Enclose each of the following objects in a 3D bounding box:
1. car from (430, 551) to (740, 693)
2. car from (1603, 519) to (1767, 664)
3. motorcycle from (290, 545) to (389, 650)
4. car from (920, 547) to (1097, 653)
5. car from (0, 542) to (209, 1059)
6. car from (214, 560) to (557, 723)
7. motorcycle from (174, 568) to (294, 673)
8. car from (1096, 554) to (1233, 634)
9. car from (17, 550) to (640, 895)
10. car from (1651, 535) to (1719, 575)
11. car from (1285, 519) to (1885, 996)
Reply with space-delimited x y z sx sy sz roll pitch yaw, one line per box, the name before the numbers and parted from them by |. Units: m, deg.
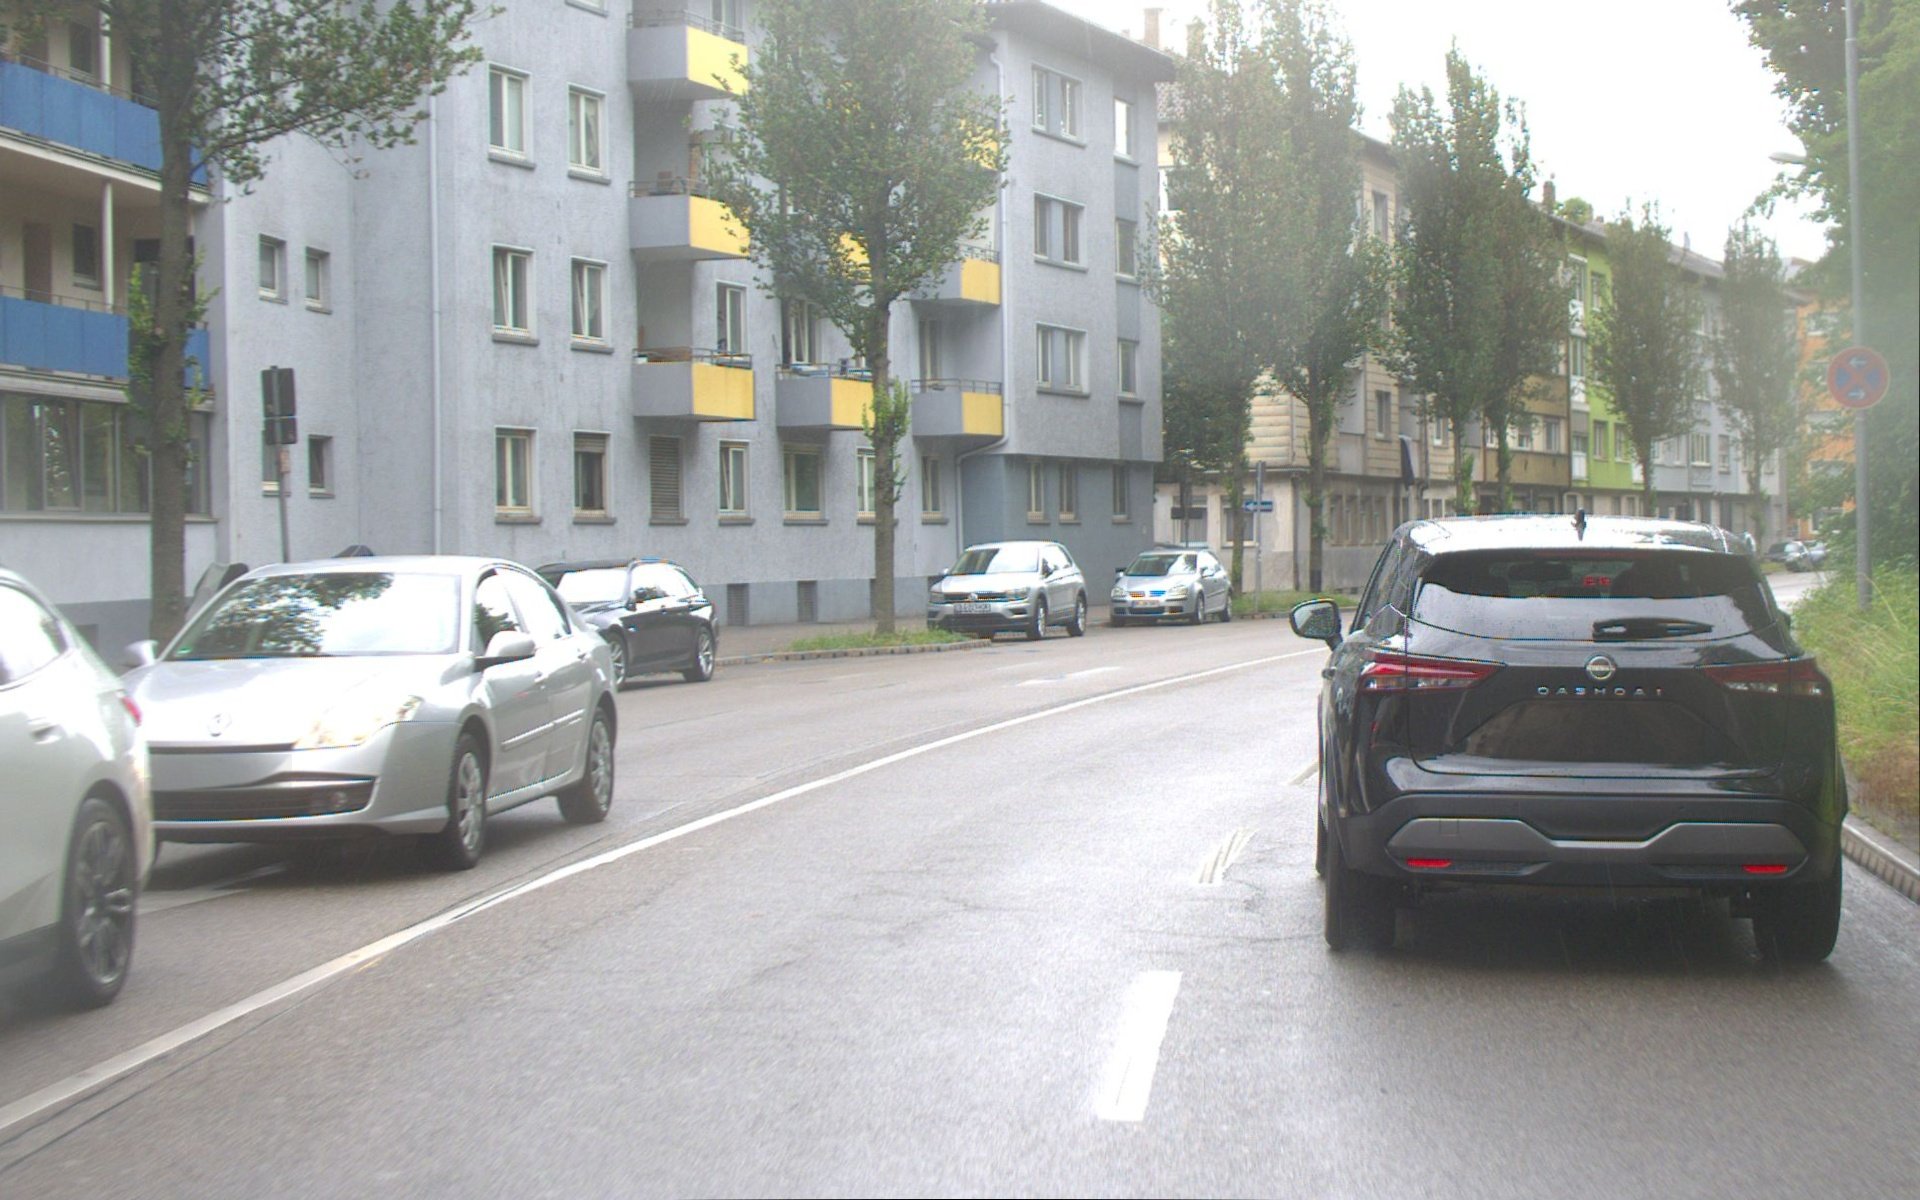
car | -4.183 0.208 39.201 1.822 1.434 4.889 -3 0 15
car | 8.924 -0.135 42.510 1.888 1.705 3.998 0 1 11
motorcycle | -8.607 -0.055 47.762 0.675 1.409 2.236 2 1 8
car | 0.847 -0.030 56.500 1.765 1.598 4.530 -2 1 16
car | -3.785 0.631 9.688 1.820 1.511 5.027 -2 1 5
car | -5.560 0.367 33.779 1.781 1.398 4.086 -3 1 14
motorcycle | -9.140 0.242 43.357 0.675 1.249 2.235 1 1 10
car | 4.017 -0.138 66.981 1.725 1.448 4.202 -1 0 17
car | -2.908 0.495 16.901 1.753 1.420 4.536 -1 1 6
car | 27.450 -1.721 130.043 1.819 1.368 4.676 -2 0 20
car | 2.281 0.480 13.541 1.845 1.577 4.000 0 1 3
